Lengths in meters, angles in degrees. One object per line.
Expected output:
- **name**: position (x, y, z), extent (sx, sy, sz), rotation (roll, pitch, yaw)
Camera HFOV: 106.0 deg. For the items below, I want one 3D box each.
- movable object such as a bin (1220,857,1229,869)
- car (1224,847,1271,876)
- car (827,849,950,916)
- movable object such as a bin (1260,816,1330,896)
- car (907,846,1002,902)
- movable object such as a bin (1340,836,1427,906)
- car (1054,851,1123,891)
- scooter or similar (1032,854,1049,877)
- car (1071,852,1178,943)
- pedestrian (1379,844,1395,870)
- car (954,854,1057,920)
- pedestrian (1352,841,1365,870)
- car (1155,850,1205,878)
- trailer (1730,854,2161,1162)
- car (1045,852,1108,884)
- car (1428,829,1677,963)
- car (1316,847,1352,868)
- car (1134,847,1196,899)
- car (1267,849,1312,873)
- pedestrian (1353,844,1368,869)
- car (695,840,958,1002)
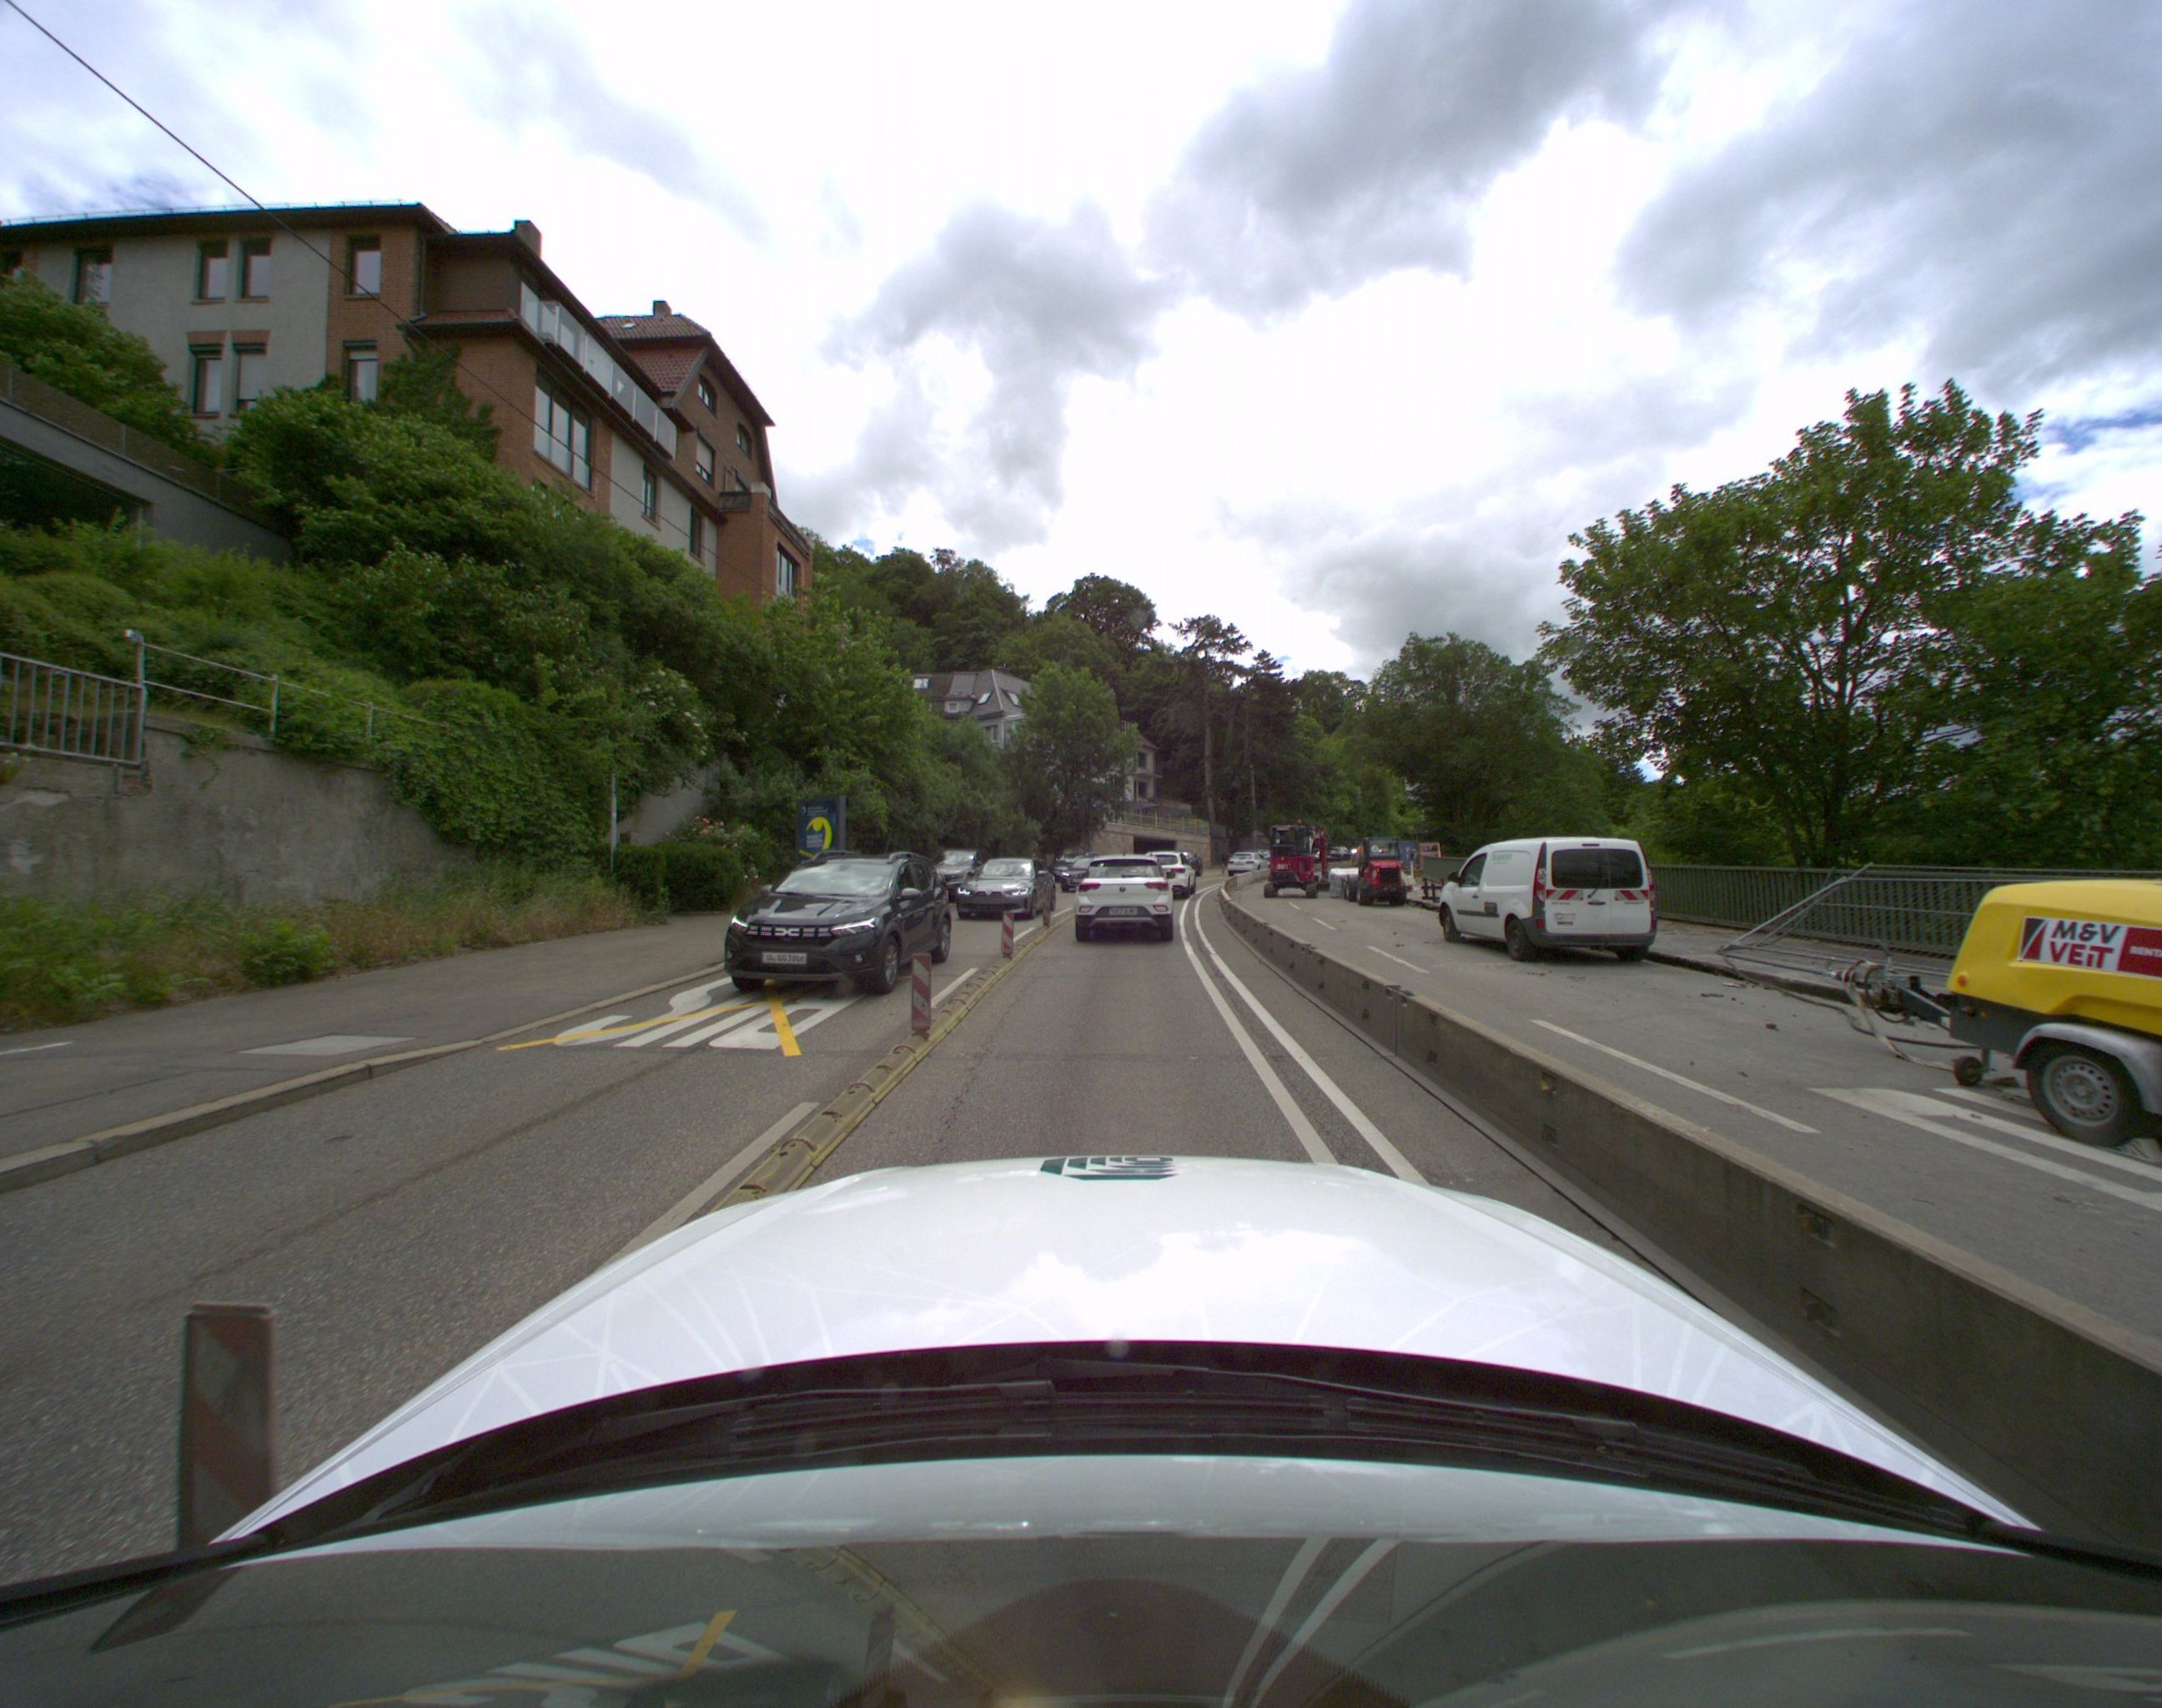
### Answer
- **movable object such as a bin**: position (12.030, 0.757, 68.446), extent (0.543, 0.977, 0.513), rotation (-2, -1, 36)
- **car**: position (10.280, 0.424, 50.185), extent (1.793, 1.663, 4.024), rotation (-2, 0, 27)
- **car**: position (-4.843, 0.670, 21.059), extent (1.785, 1.510, 4.007), rotation (2, 0, 6)
- **movable object such as a bin**: position (7.937, 0.069, 29.822), extent (2.194, 2.663, 4.967), rotation (0, 0, 18)
- **car**: position (-3.965, 0.586, 26.250), extent (1.676, 1.606, 4.198), rotation (2, 0, 10)
- **movable object such as a bin**: position (9.094, 0.455, 24.817), extent (1.691, 1.943, 4.175), rotation (0, 0, 9)
- **car**: position (0.404, 0.656, 33.472), extent (1.782, 1.446, 4.380), rotation (0, 1, 15)
- **scooter or similar**: position (-2.197, 0.627, 44.255), extent (0.412, 1.232, 1.127), rotation (2, 0, 22)
- **car**: position (0.842, 0.742, 16.002), extent (1.802, 1.531, 4.003), rotation (-1, 0, 3)
- **pedestrian**: position (20.445, 0.211, 54.445), extent (0.775, 1.688, 0.790), rotation (-1, 0, 39)
- **car**: position (-1.803, 0.771, 20.883), extent (1.786, 1.482, 4.336), rotation (1, 0, 6)
- **pedestrian**: position (18.992, 0.104, 55.701), extent (0.686, 1.906, 0.828), rotation (-1, 0, 11)
- **car**: position (5.992, 0.559, 48.841), extent (1.751, 1.568, 4.254), rotation (0, 0, 25)
- **trailer**: position (6.040, 0.749, 5.183), extent (1.281, 1.475, 3.641), rotation (0, 0, 7)
- **car**: position (-0.156, 0.679, 41.104), extent (1.722, 1.451, 4.705), rotation (2, 1, 18)
- **car**: position (7.207, 0.560, 13.032), extent (1.824, 1.779, 4.274), rotation (-1, 0, 5)
- **car**: position (21.380, 0.275, 68.662), extent (1.792, 1.663, 4.026), rotation (-2, 0, 33)
- **car**: position (3.067, 0.632, 29.114), extent (1.798, 1.663, 4.012), rotation (-2, 0, 11)
- **car**: position (15.283, 0.497, 59.580), extent (1.792, 1.663, 4.026), rotation (-2, 0, 36)
- **pedestrian**: position (19.489, 0.166, 56.733), extent (0.868, 1.731, 0.883), rotation (-1, 0, 23)
- **car**: position (-2.883, 0.678, 10.180), extent (1.807, 1.622, 3.824), rotation (0, 0, 4)
